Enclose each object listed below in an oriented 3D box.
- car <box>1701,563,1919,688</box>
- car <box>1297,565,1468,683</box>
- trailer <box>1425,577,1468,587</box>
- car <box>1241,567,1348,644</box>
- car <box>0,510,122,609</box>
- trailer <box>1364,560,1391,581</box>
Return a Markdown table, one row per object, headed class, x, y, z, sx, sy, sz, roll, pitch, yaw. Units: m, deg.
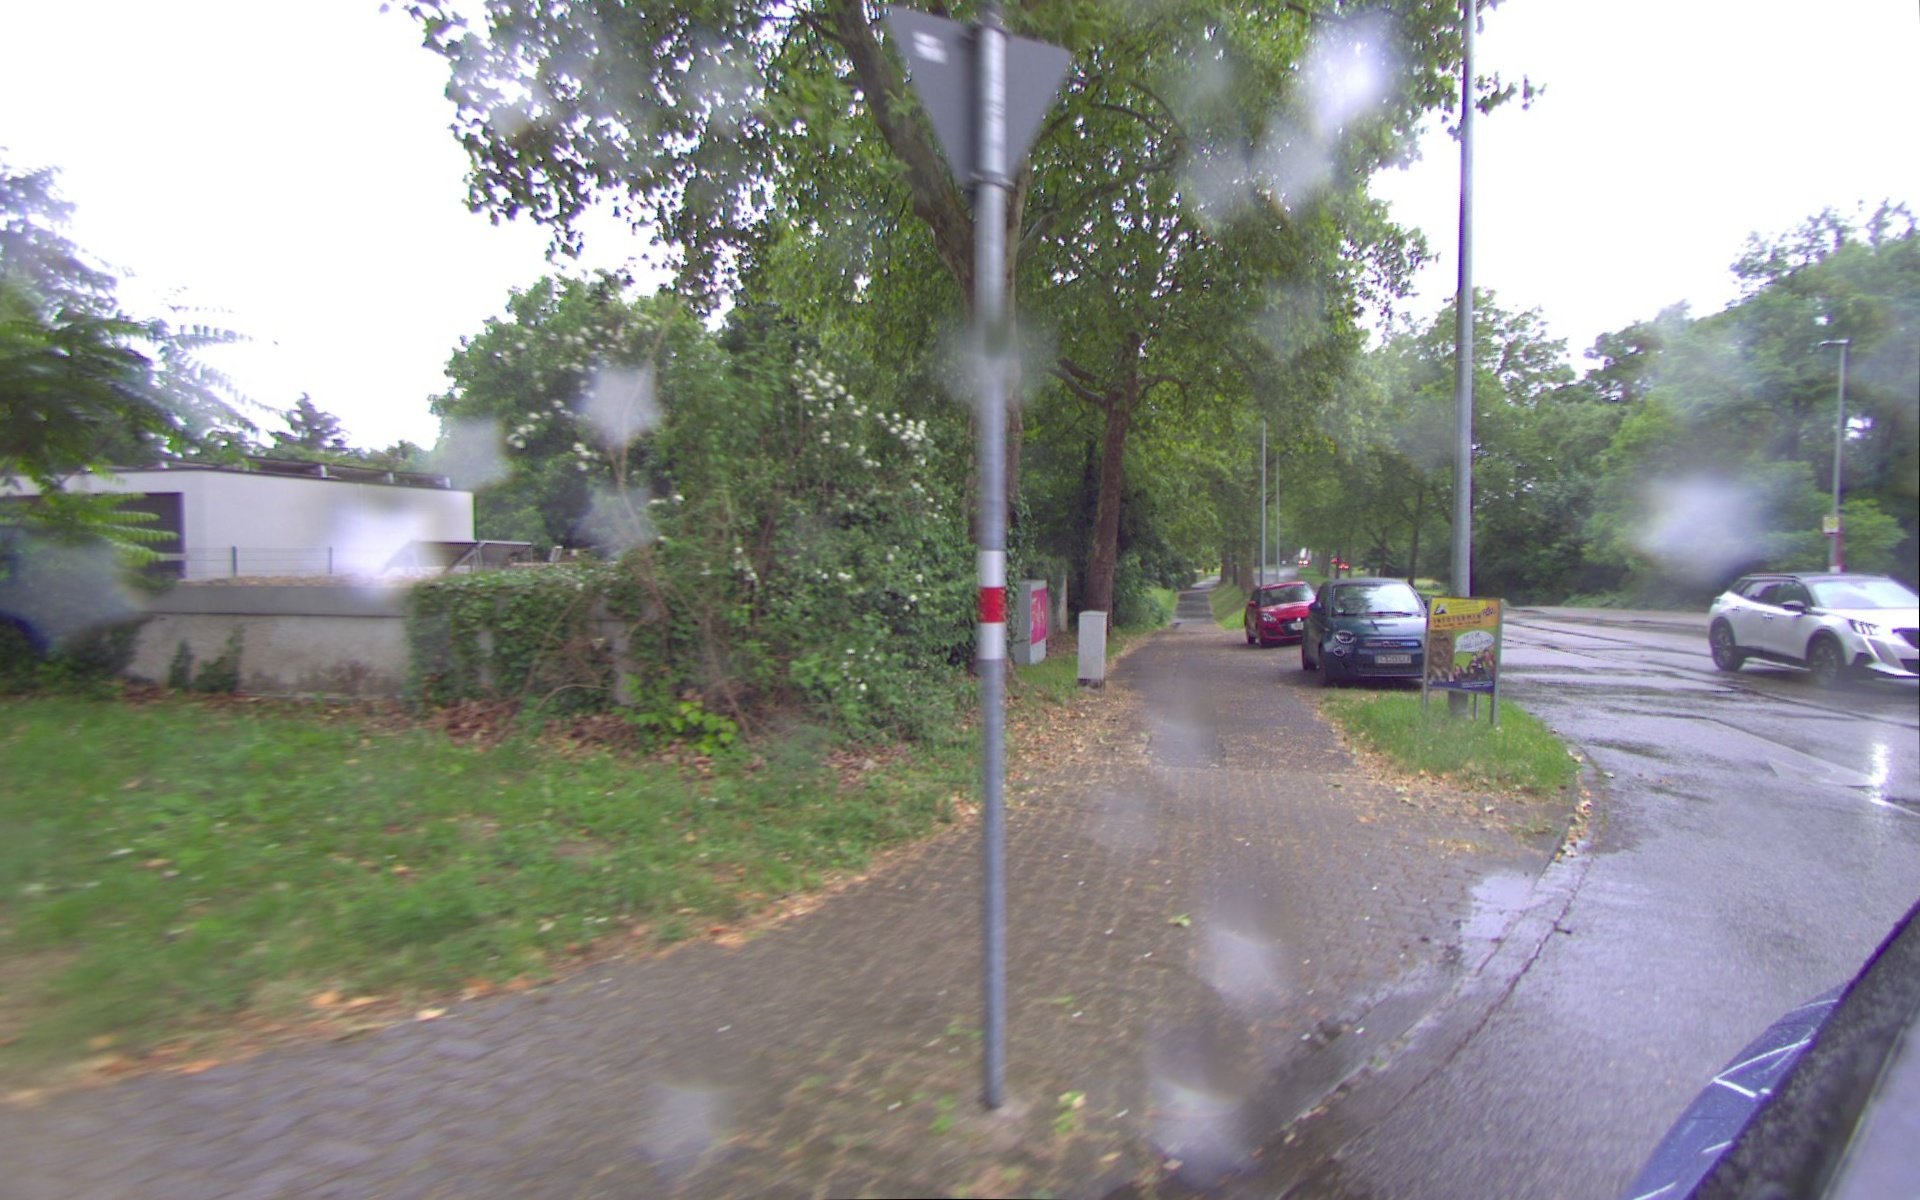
| class | x | y | z | sx | sy | sz | roll | pitch | yaw |
| --- | --- | --- | --- | --- | --- | --- | --- | --- | --- |
| car | 12.822 | 0.267 | 14.633 | 1.731 | 1.554 | 4.352 | 1 | 2 | 13 |
| car | 6.214 | 0.276 | 15.277 | 1.728 | 1.510 | 3.587 | -2 | 2 | 13 |
| trailer | 58.712 | -2.175 | 122.177 | 4.269 | 1.045 | 2.372 | 2 | 3 | 16 |
| car | 8.011 | 0.134 | 24.582 | 1.796 | 1.536 | 3.731 | -7 | -1 | 10 |
| car | -15.120 | -0.636 | 15.418 | 1.469 | 1.489 | 3.417 | 2 | 3 | 14 |
| trailer | 58.165 | -4.128 | 141.111 | 2.770 | 2.695 | 6.618 | 2 | 3 | 18 |
